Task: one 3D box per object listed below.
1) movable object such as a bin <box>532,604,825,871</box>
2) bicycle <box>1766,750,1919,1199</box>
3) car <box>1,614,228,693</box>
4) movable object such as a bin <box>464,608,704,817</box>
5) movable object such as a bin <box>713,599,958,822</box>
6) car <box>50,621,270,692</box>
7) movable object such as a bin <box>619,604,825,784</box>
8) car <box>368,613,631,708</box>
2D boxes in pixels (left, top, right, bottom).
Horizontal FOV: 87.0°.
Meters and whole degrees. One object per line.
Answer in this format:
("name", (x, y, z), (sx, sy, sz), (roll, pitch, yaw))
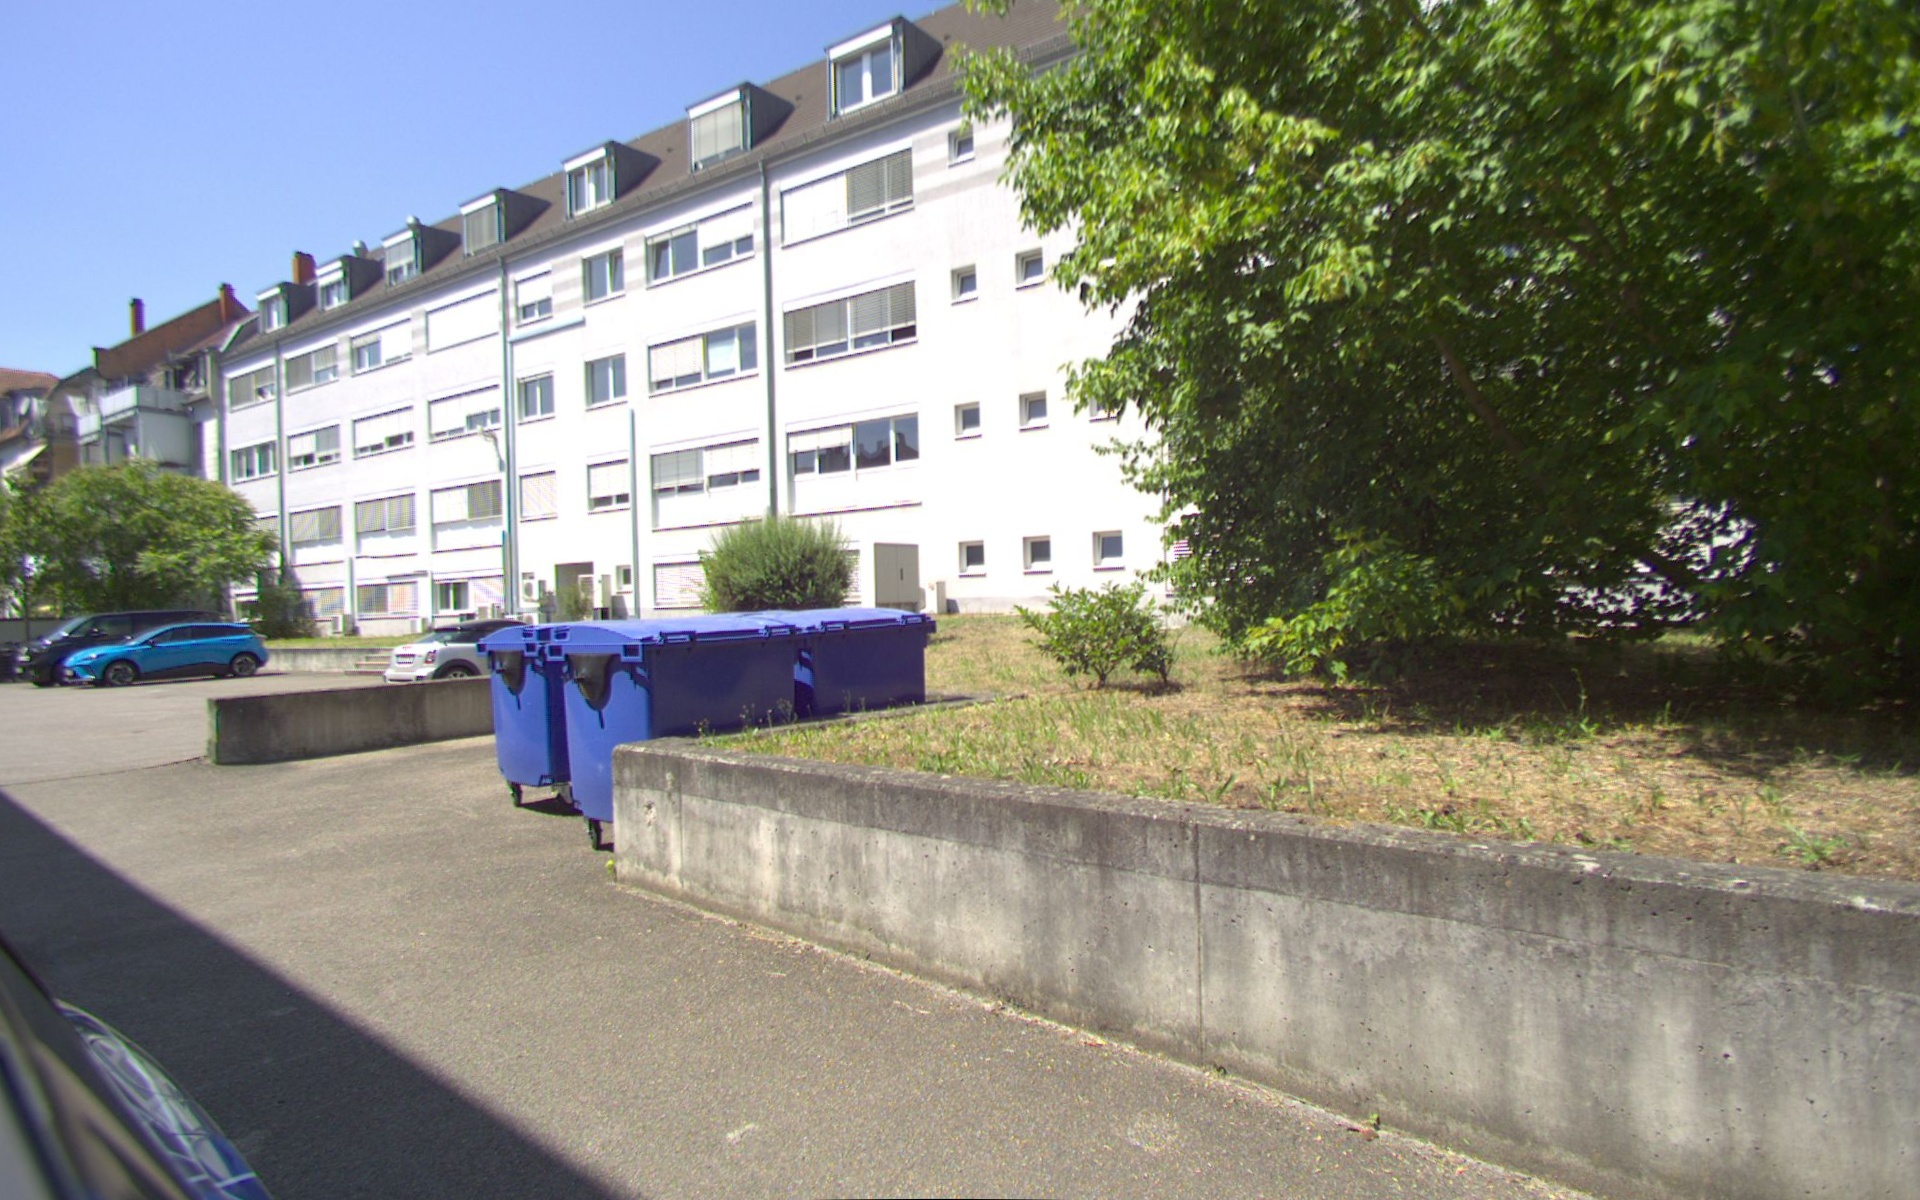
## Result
("movable object such as a bin", (-1.655, 0.722, 6.013), (1.103, 1.338, 1.242), (-2, 0, 39))
("bicycle", (1.789, 0.795, 0.683), (1.902, 1.183, 0.637), (-2, 0, 39))
("car", (-22.999, 1.378, 27.690), (1.996, 1.846, 4.398), (-2, 0, 36))
("movable object such as a bin", (-2.762, 0.759, 7.476), (1.103, 1.338, 1.242), (-2, 0, 39))
("movable object such as a bin", (-0.850, 0.693, 7.043), (1.103, 1.338, 1.242), (-2, 0, 39))
("car", (-20.718, 1.401, 26.372), (1.855, 1.565, 4.122), (-2, 0, 34))
("movable object such as a bin", (-1.988, 0.731, 8.518), (1.103, 1.338, 1.242), (-2, 0, 39))
("car", (-8.069, 0.998, 18.039), (1.707, 1.447, 3.952), (-2, -1, 35))
